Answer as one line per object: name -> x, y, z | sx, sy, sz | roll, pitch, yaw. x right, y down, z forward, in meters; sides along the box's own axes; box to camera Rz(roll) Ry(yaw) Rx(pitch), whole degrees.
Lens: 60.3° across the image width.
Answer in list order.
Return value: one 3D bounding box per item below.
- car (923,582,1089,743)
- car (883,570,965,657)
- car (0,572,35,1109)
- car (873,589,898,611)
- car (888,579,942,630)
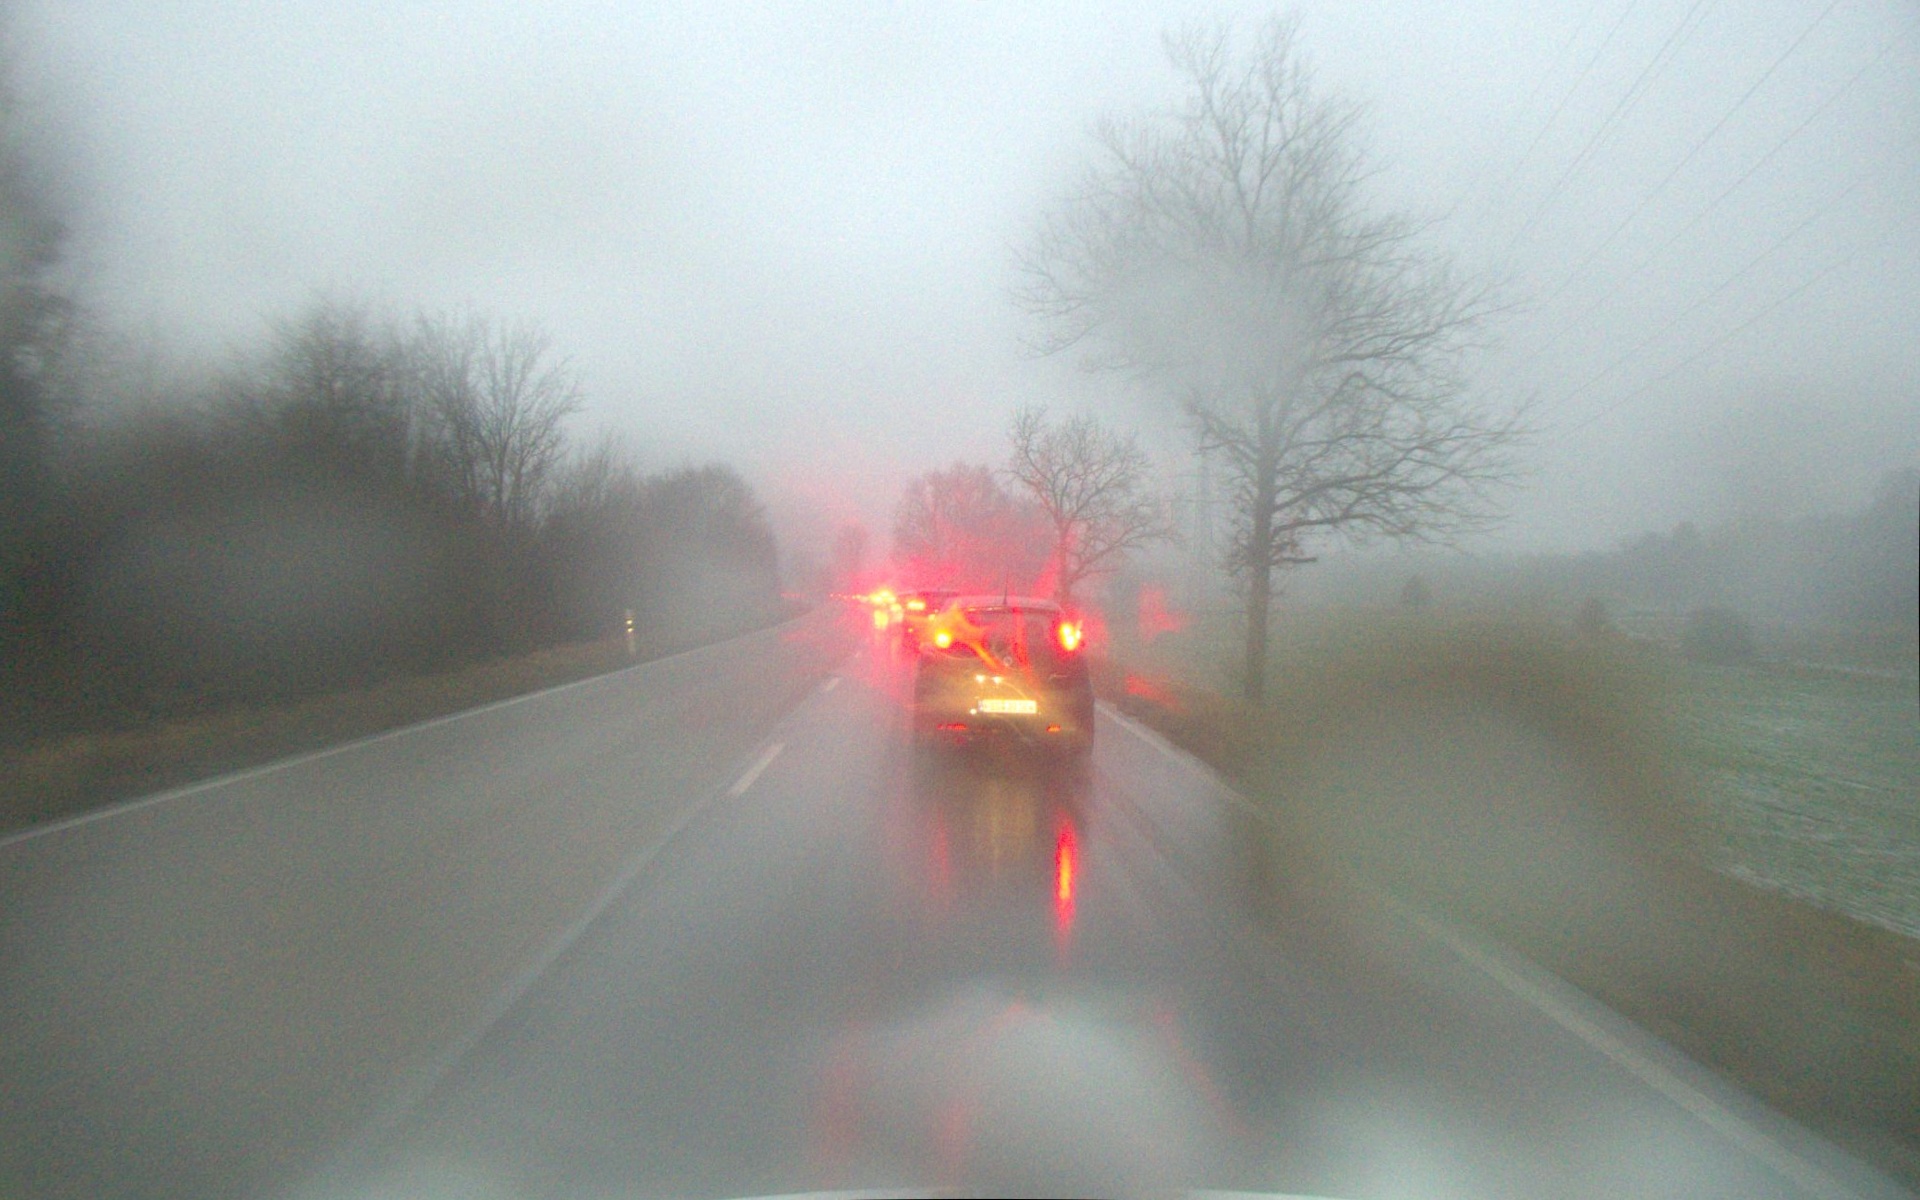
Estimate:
car -> 0.461, 0.557, 16.465 | 1.469, 1.423, 3.200 | 1, 0, 2
car -> -0.860, 0.318, 41.777 | 1.814, 2.049, 4.001 | 1, 0, 2
car -> -3.476, 0.670, 2.935 | 1.622, 1.512, 3.669 | 1, 0, -1
car -> -6.087, -0.024, 135.839 | 1.825, 1.729, 4.467 | 1, 1, 0
car -> -1.607, 0.130, 60.035 | 1.825, 1.729, 4.467 | 1, 1, 0
